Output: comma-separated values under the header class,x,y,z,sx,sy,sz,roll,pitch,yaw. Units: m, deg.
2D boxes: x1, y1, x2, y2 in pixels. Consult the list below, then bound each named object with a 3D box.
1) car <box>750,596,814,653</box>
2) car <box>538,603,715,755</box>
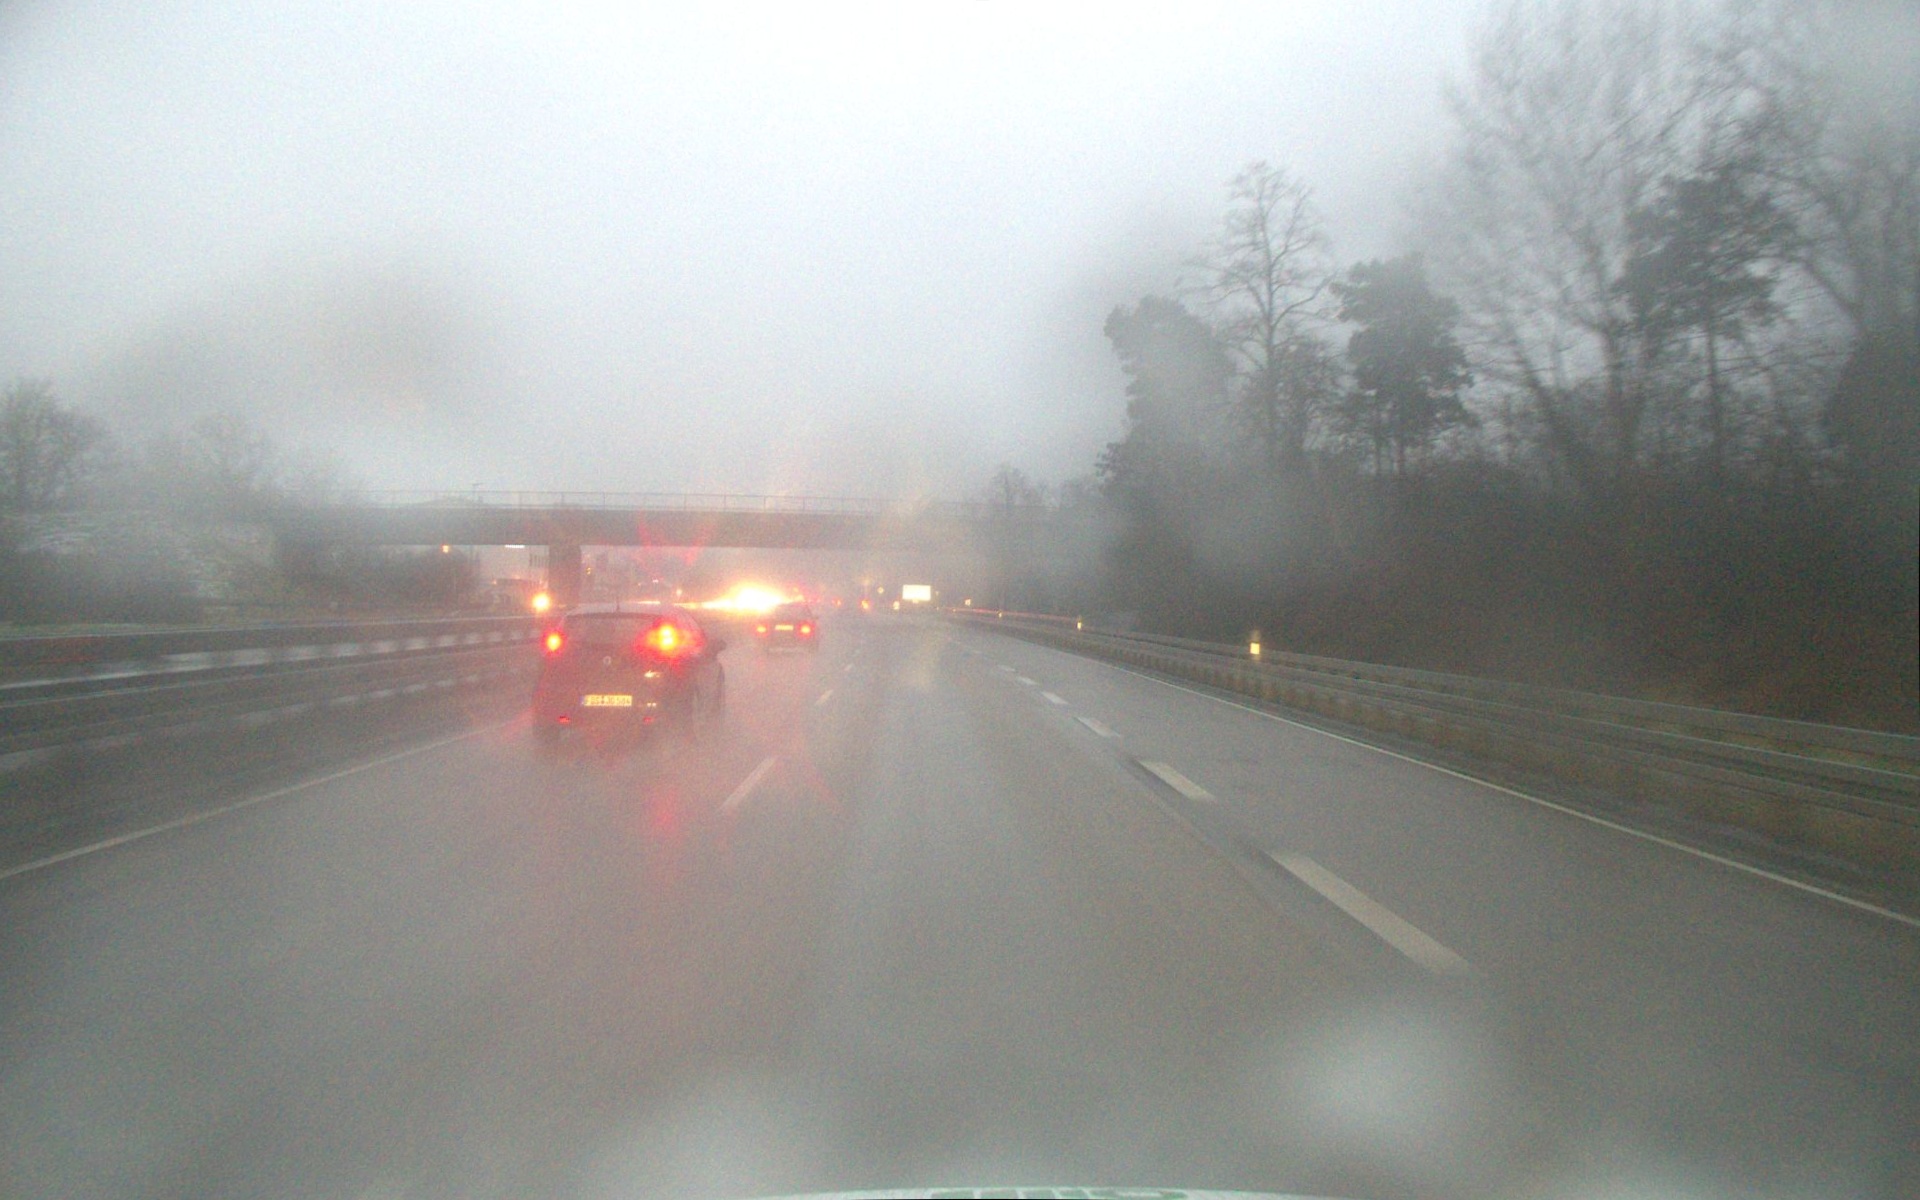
class,x,y,z,sx,sy,sz,roll,pitch,yaw
car,-5.138,0.682,48.208,1.741,1.561,4.698,0,0,-5
car,-3.664,0.815,18.651,1.498,1.440,3.475,3,0,-5
